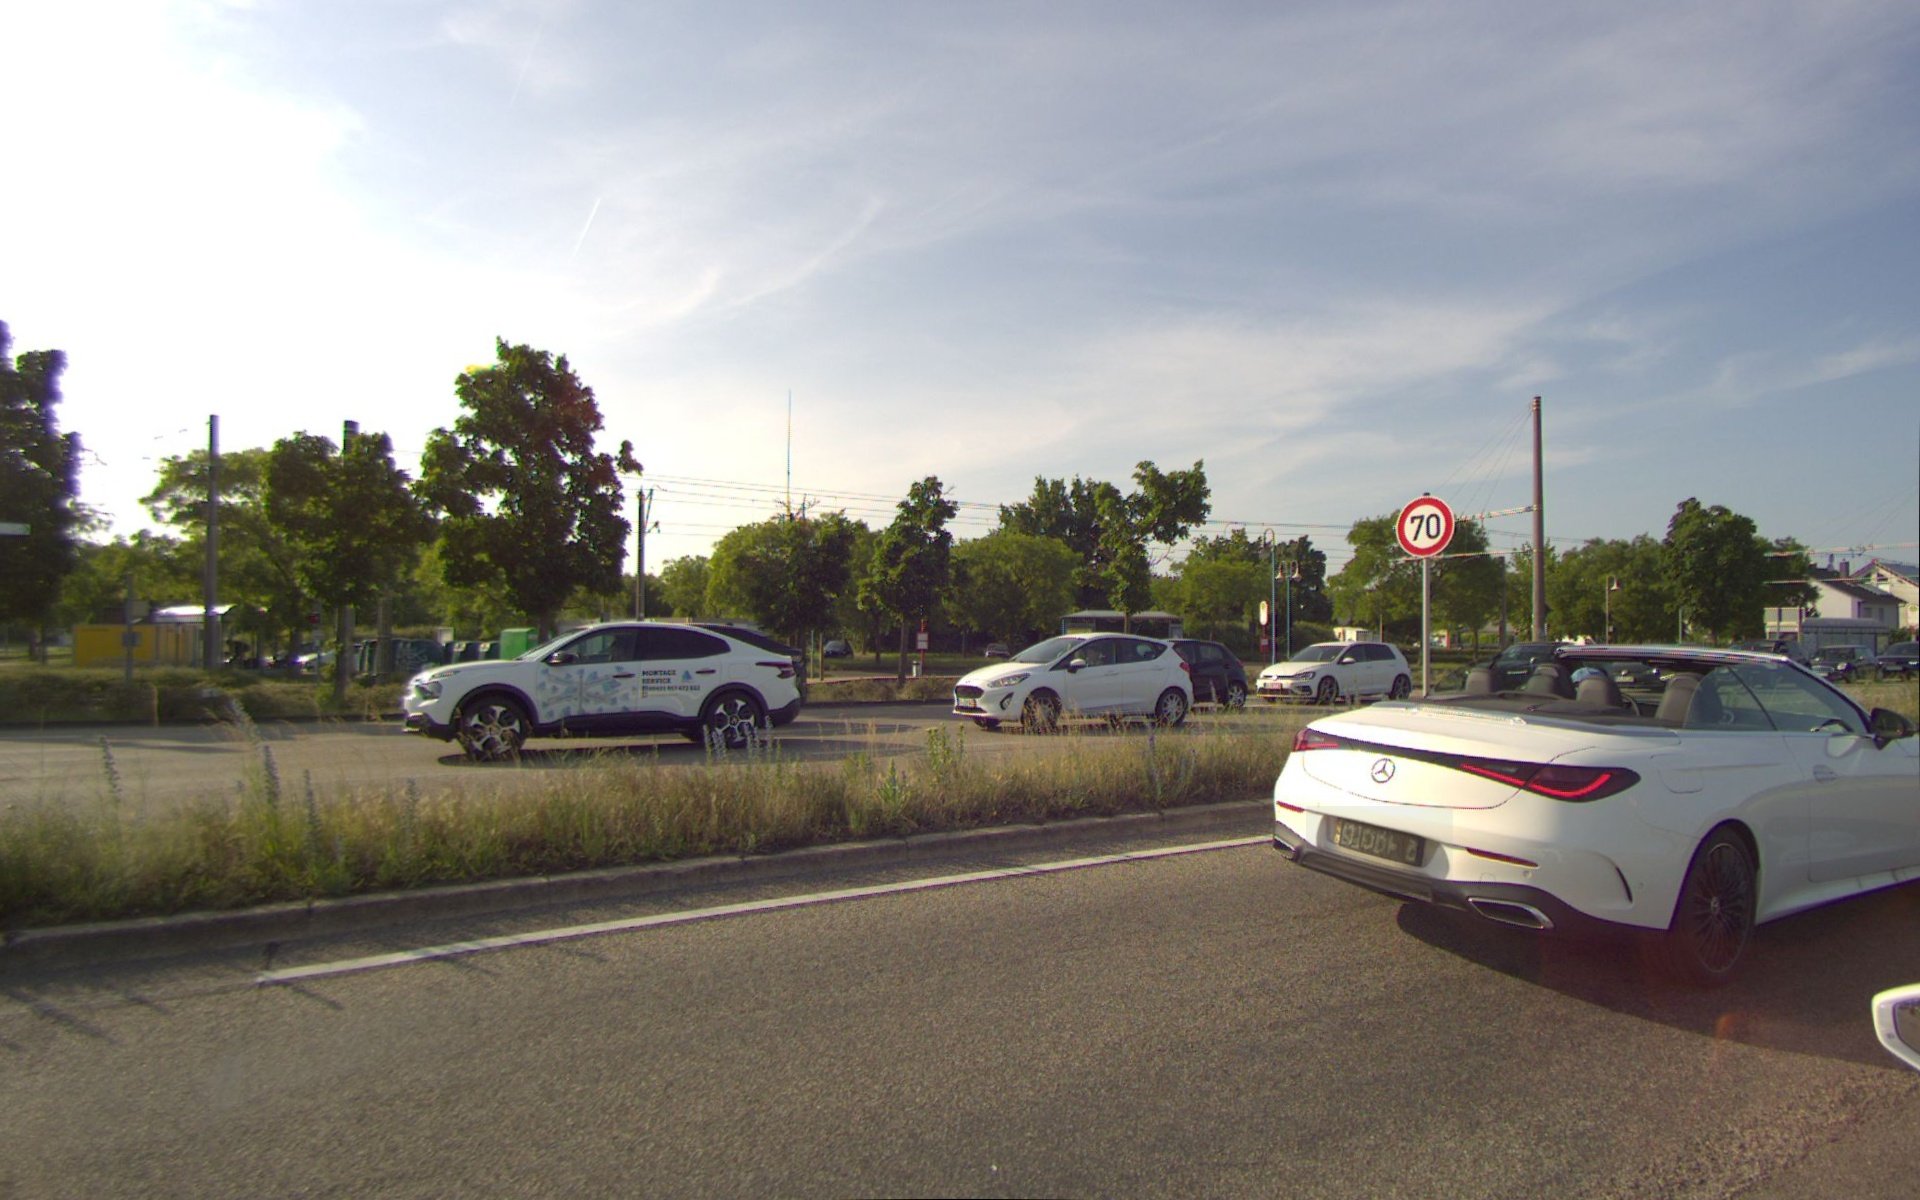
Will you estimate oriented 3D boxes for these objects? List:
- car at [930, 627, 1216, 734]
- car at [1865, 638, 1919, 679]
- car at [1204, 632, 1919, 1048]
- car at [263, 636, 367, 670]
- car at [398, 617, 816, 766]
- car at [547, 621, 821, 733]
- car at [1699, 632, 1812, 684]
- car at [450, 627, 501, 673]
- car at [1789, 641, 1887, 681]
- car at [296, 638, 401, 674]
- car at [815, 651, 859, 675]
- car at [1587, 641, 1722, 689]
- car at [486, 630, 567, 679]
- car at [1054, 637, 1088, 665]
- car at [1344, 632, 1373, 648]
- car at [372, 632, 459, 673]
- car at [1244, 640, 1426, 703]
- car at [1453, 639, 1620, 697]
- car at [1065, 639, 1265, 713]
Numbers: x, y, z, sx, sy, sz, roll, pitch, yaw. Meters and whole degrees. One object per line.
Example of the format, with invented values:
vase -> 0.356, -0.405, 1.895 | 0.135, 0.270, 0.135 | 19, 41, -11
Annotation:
car -> 1.806, 1.213, 15.790 | 4.243, 1.489, 1.811 | 2, -4, -30
car -> 38.646, 2.357, 40.673 | 4.492, 1.583, 1.653 | 2, -4, -30
car -> 3.767, 0.904, 5.417 | 4.891, 1.355, 1.763 | 2, 0, -30
car -> -32.845, 2.667, 51.263 | 1.965, 1.558, 3.992 | 1, 0, 31
car -> -4.183, 1.035, 12.157 | 4.529, 1.527, 1.744 | 2, -4, -30
car -> -4.413, 1.201, 16.205 | 3.953, 1.610, 1.789 | 2, -4, -30
car -> 27.735, 2.011, 34.994 | 4.179, 1.709, 1.653 | 2, -3, -30
car -> -21.924, 2.238, 45.583 | 1.808, 1.902, 3.656 | 1, 0, -22
car -> 33.243, 2.284, 38.033 | 3.760, 1.450, 1.653 | 2, -4, -30
car -> -30.338, 2.747, 49.915 | 1.965, 1.558, 3.992 | 1, 0, 31
car -> -8.482, 4.333, 69.608 | 1.921, 1.432, 4.160 | 1, 0, 9
car -> 21.287, 1.966, 30.761 | 4.488, 1.399, 1.653 | 2, -4, -30
car -> -18.517, 2.275, 42.842 | 3.623, 1.902, 1.824 | 1, 0, 43
car -> 7.652, 3.514, 69.619 | 1.960, 1.684, 4.001 | 1, 0, 1
car -> 37.486, 3.757, 94.621 | 1.699, 1.384, 3.626 | -1, -4, 7
car -> -22.692, 2.147, 41.793 | 3.939, 1.439, 1.826 | 1, 0, 40
car -> 8.971, 1.672, 23.948 | 4.416, 1.399, 1.653 | 2, -4, -30
car -> 15.554, 1.794, 27.016 | 4.917, 1.433, 1.653 | 2, -4, -30
car -> 4.245, 1.522, 20.658 | 3.953, 1.399, 1.653 | 2, -4, -30
